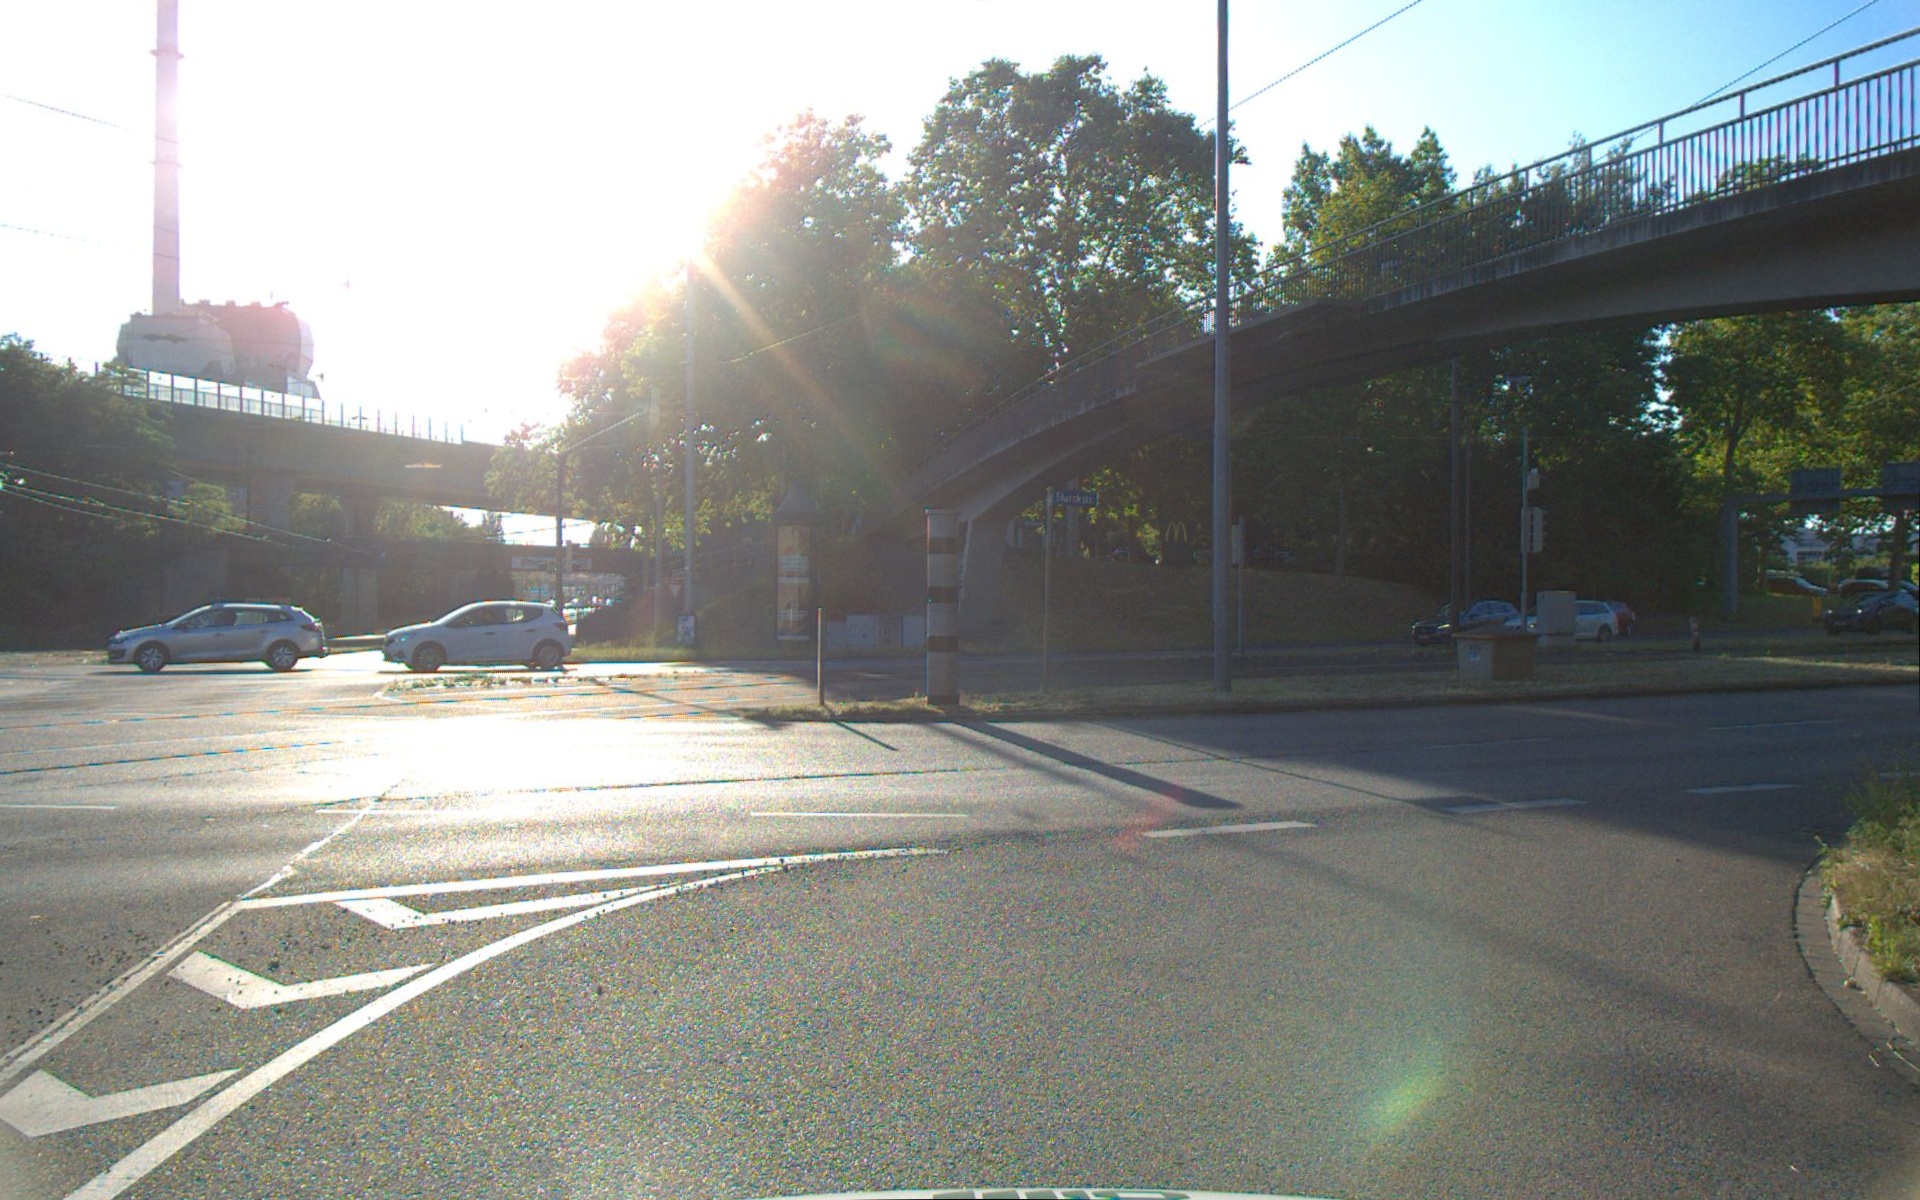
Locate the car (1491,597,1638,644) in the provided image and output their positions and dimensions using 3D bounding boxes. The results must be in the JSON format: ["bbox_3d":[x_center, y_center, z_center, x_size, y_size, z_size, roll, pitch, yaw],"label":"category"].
[{"bbox_3d":[19.845,0.660,54.239,4.794,1.469,1.991,0,0,-31],"label":"car"}]

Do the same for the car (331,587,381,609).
[{"bbox_3d":[-53.253,-0.198,145.954,1.953,1.802,3.999,1,-1,22],"label":"car"}]

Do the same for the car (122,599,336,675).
[{"bbox_3d":[-16.563,0.821,37.509,4.307,1.637,1.839,1,-1,-29],"label":"car"}]

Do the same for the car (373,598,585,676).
[{"bbox_3d":[-10.675,0.809,36.764,4.246,1.637,1.839,1,-1,-29],"label":"car"}]

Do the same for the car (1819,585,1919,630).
[{"bbox_3d":[35.186,0.278,63.666,4.298,1.679,1.778,0,0,-31],"label":"car"}]

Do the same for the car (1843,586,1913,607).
[{"bbox_3d":[64.317,-0.264,115.933,1.759,1.411,4.029,0,2,-29],"label":"car"}]

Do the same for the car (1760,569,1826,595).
[{"bbox_3d":[60.991,-1.315,121.185,1.971,1.892,3.964,0,1,-28],"label":"car"}]

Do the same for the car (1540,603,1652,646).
[{"bbox_3d":[25.422,0.965,66.067,4.290,1.679,1.781,0,0,-27],"label":"car"}]

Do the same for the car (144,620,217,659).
[{"bbox_3d":[-44.263,2.205,94.022,1.954,2.049,5.420,0,0,-4],"label":"car"}]

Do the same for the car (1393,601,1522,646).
[{"bbox_3d":[17.220,0.793,57.181,4.195,1.469,1.992,0,0,-31],"label":"car"}]
